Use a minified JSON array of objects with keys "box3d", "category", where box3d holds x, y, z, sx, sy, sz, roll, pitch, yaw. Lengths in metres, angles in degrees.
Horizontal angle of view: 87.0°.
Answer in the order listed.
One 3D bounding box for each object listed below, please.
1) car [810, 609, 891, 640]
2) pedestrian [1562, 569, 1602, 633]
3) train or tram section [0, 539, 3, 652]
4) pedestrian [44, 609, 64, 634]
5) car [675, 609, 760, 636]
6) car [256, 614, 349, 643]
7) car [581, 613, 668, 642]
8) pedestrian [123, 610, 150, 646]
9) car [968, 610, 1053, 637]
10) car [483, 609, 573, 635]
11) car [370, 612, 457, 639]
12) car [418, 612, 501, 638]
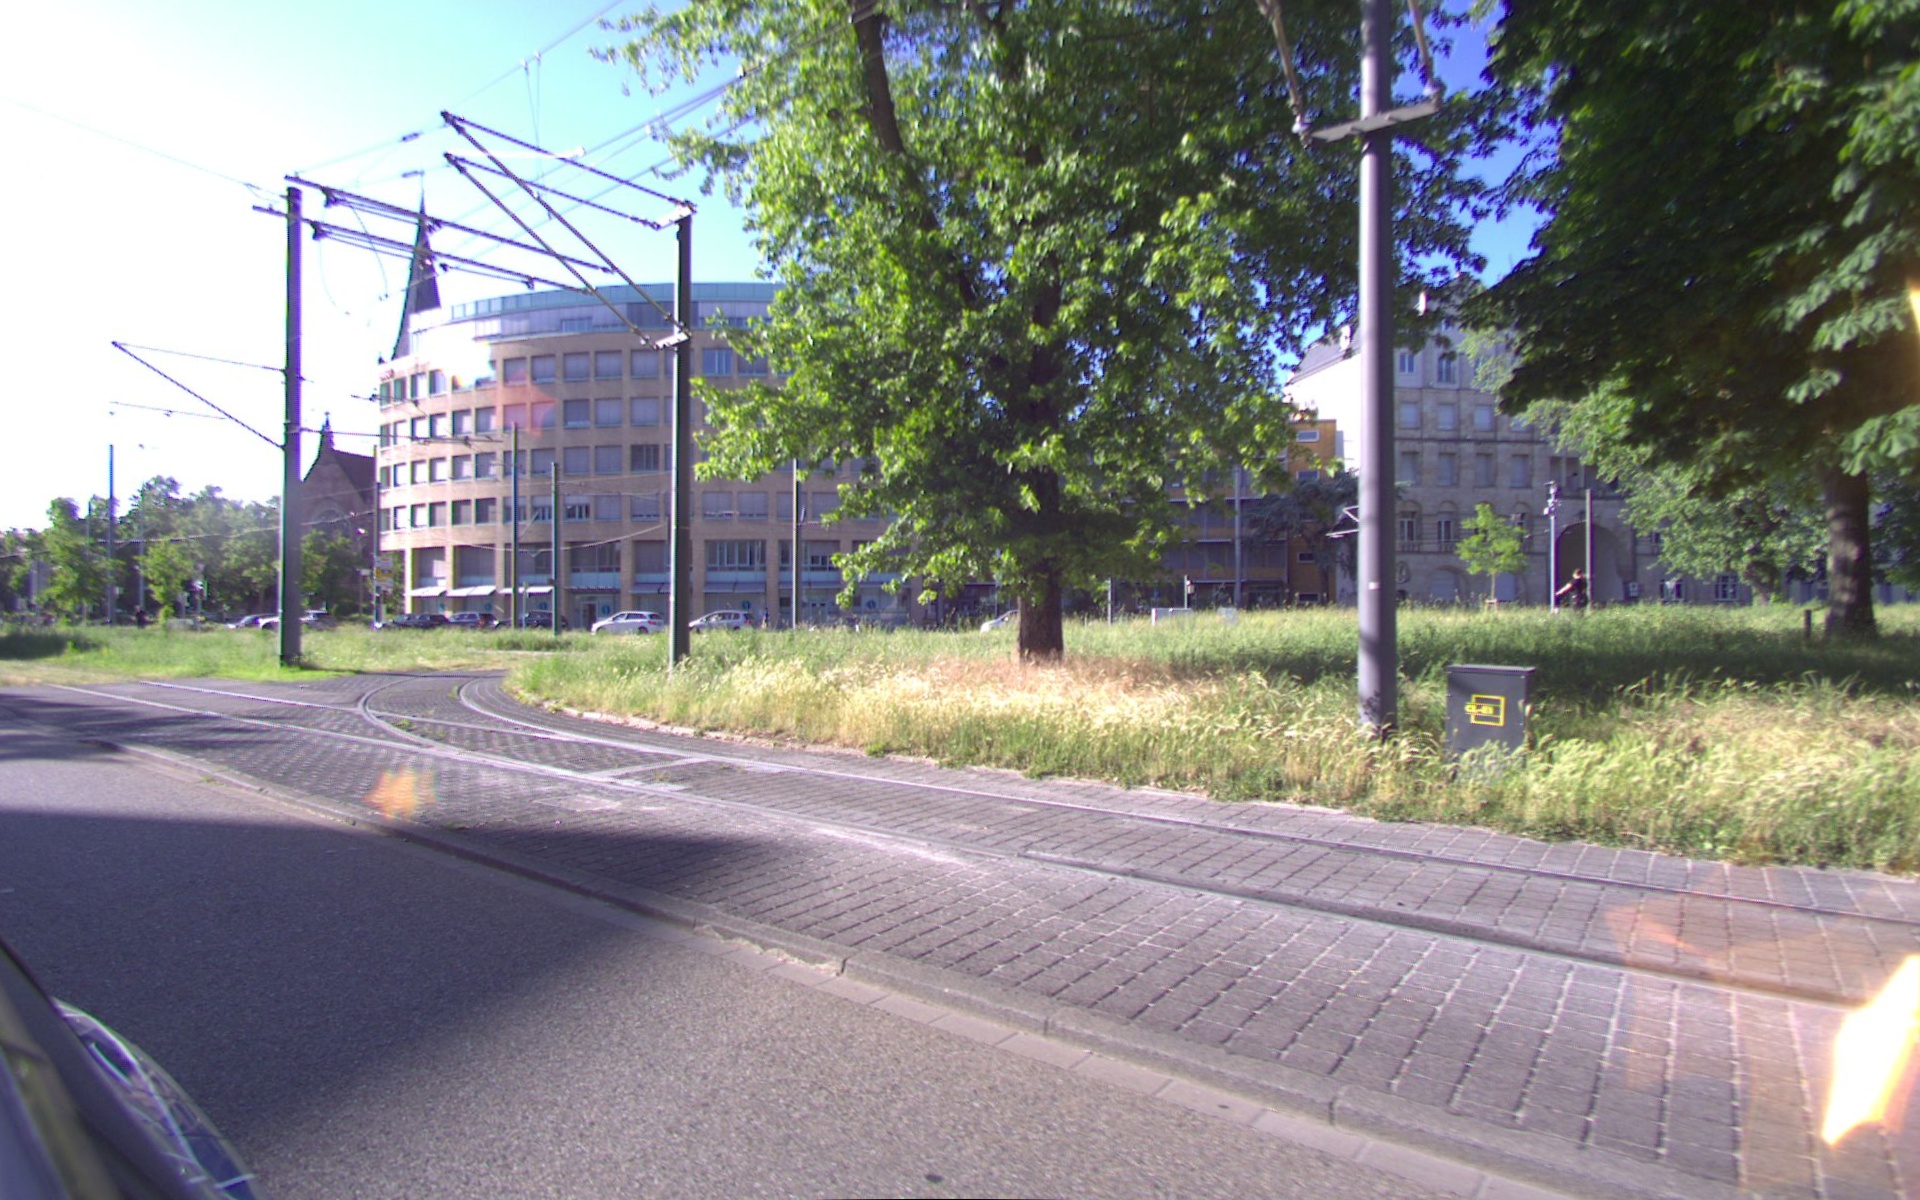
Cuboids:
[{"box3d":[-6.263,1.388,57.968,4.234,1.524,1.995,3,1,9],"category":"car"},{"box3d":[16.133,0.008,26.242,0.546,1.628,0.677,-1,1,-15],"category":"pedestrian"},{"box3d":[-37.852,-0.056,35.622,13.141,3.713,2.926,-1,0,32],"category":"train or tram section"},{"box3d":[-75.754,1.793,84.637,0.916,2.029,0.875,0,1,14],"category":"pedestrian"},{"box3d":[-14.125,1.289,59.079,4.459,1.437,1.995,0,1,9],"category":"car"},{"box3d":[-42.388,1.830,65.268,5.032,1.747,2.099,-1,0,12],"category":"car"},{"box3d":[-20.014,1.623,60.419,4.607,1.608,1.993,0,1,12],"category":"car"},{"box3d":[-39.570,1.338,48.618,0.739,1.683,0.731,-1,0,21],"category":"pedestrian"},{"box3d":[2.880,1.324,57.672,4.706,1.364,1.998,-1,1,4],"category":"car"},{"box3d":[-26.409,1.310,61.884,4.974,1.458,1.990,0,1,16],"category":"car"},{"box3d":[-34.239,1.568,63.426,4.614,1.528,1.993,0,1,12],"category":"car"},{"box3d":[-35.635,1.747,72.085,5.159,1.680,2.116,0,1,13],"category":"car"}]
